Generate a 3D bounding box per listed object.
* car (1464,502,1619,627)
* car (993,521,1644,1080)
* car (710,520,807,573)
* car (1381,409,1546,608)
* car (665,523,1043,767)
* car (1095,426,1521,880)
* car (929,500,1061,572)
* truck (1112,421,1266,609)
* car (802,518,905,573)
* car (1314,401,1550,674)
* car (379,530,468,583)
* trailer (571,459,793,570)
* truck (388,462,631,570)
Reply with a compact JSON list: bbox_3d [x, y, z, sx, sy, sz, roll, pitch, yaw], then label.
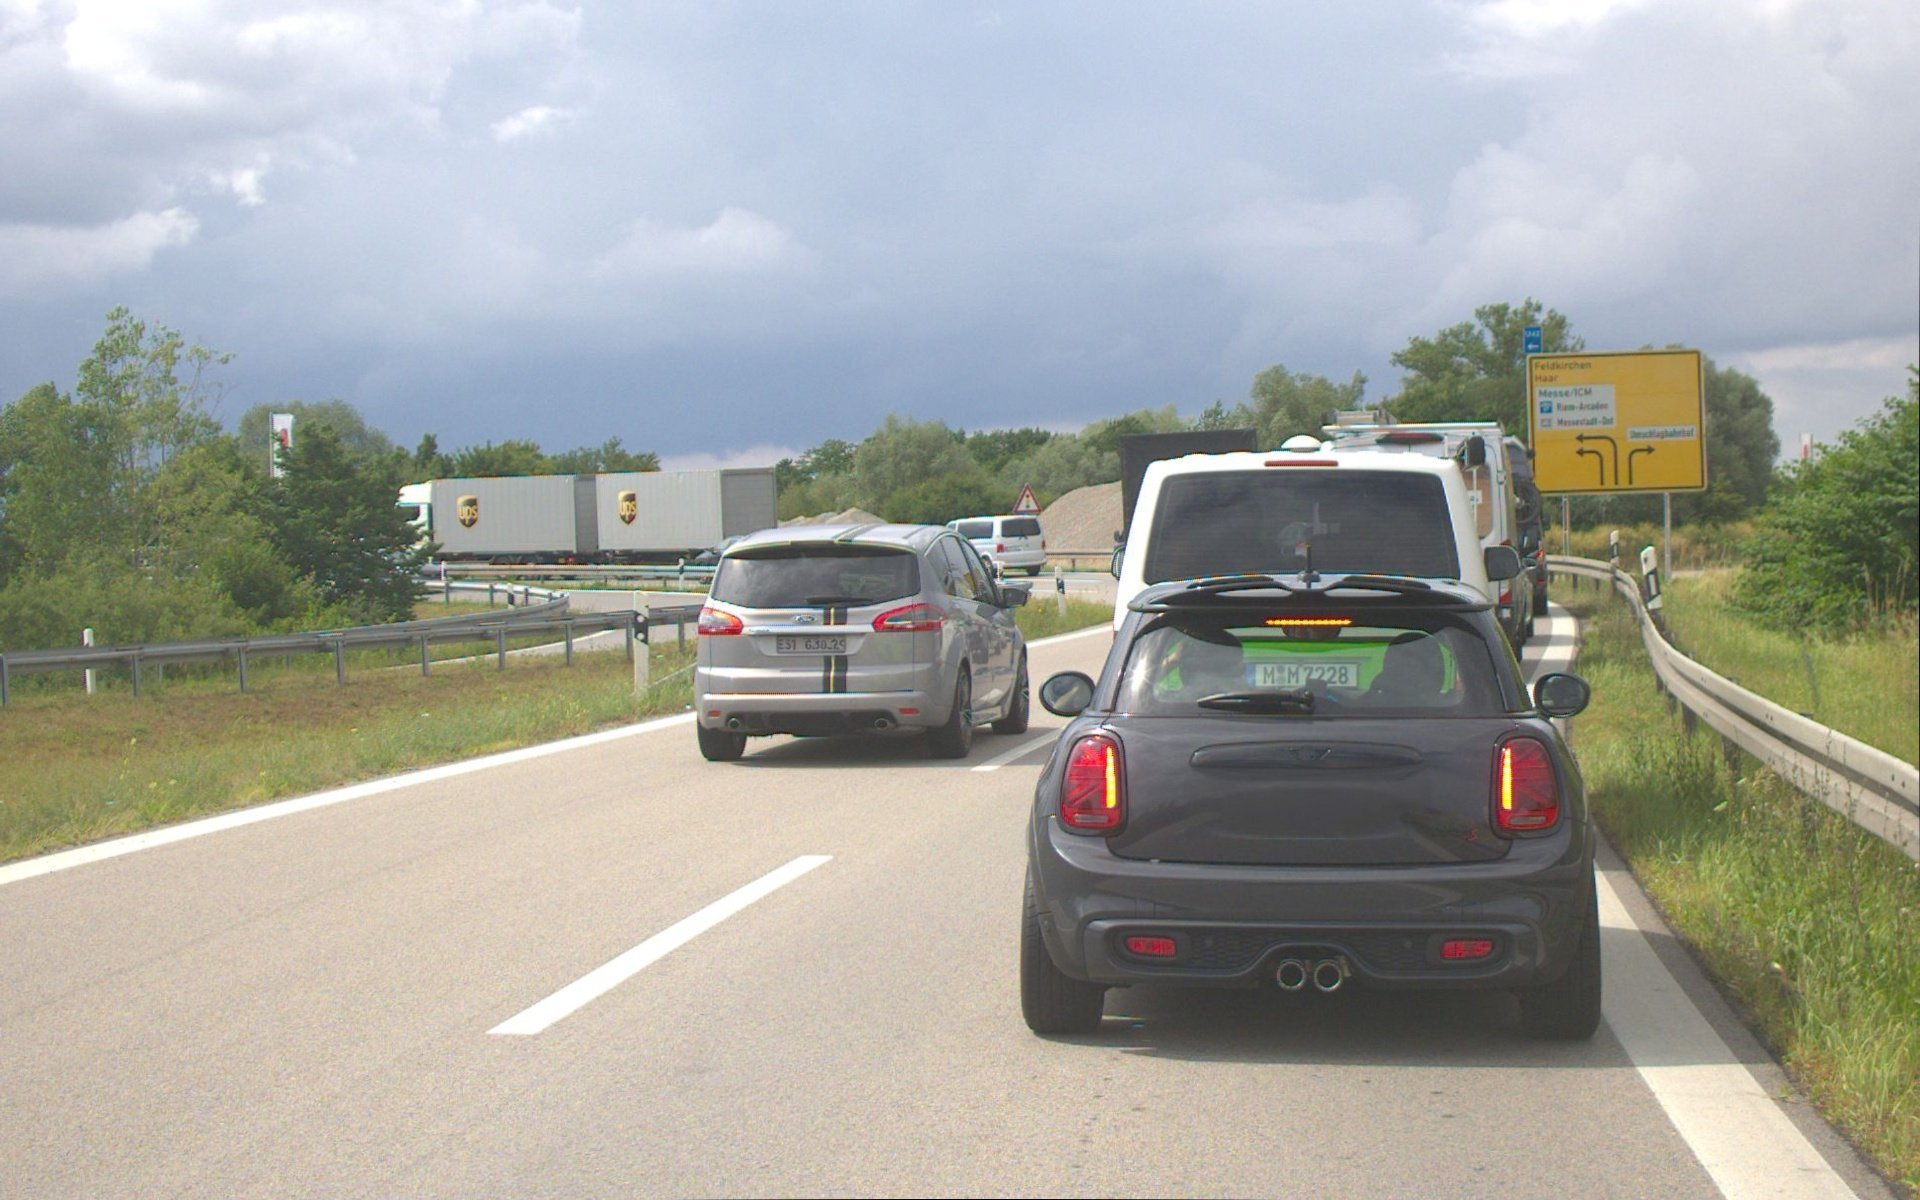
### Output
[{"bbox_3d":[7.999,-0.473,47.546,1.994,1.636,3.927,1,0,8],"label":"car"},{"bbox_3d":[1.153,0.530,11.484,1.800,1.541,3.738,0,1,5],"label":"car"},{"bbox_3d":[-6.933,-1.831,117.881,1.812,1.750,4.001,1,0,-27],"label":"car"},{"bbox_3d":[8.363,-1.425,56.605,2.312,3.058,6.658,1,0,11],"label":"car"},{"bbox_3d":[-0.652,0.291,24.955,2.021,1.572,4.585,-1,0,7],"label":"car"},{"bbox_3d":[1.847,0.217,17.645,1.911,2.038,4.180,0,0,8],"label":"car"},{"bbox_3d":[1.097,-2.066,112.348,2.289,2.252,5.108,1,0,-25],"label":"car"},{"bbox_3d":[4.167,-1.448,62.059,2.560,3.157,7.467,1,0,4],"label":"truck"},{"bbox_3d":[-3.733,-1.880,119.896,1.921,1.831,4.318,1,0,-27],"label":"car"},{"bbox_3d":[4.947,-0.609,35.908,2.212,2.613,5.532,1,0,8],"label":"car"},{"bbox_3d":[-17.829,-1.445,114.186,1.759,1.587,4.000,-3,0,-26],"label":"car"},{"bbox_3d":[-10.232,-3.088,125.731,8.767,3.885,3.038,1,0,44],"label":"trailer"},{"bbox_3d":[-17.339,-3.185,131.762,10.018,3.962,2.839,1,0,36],"label":"truck"}]
